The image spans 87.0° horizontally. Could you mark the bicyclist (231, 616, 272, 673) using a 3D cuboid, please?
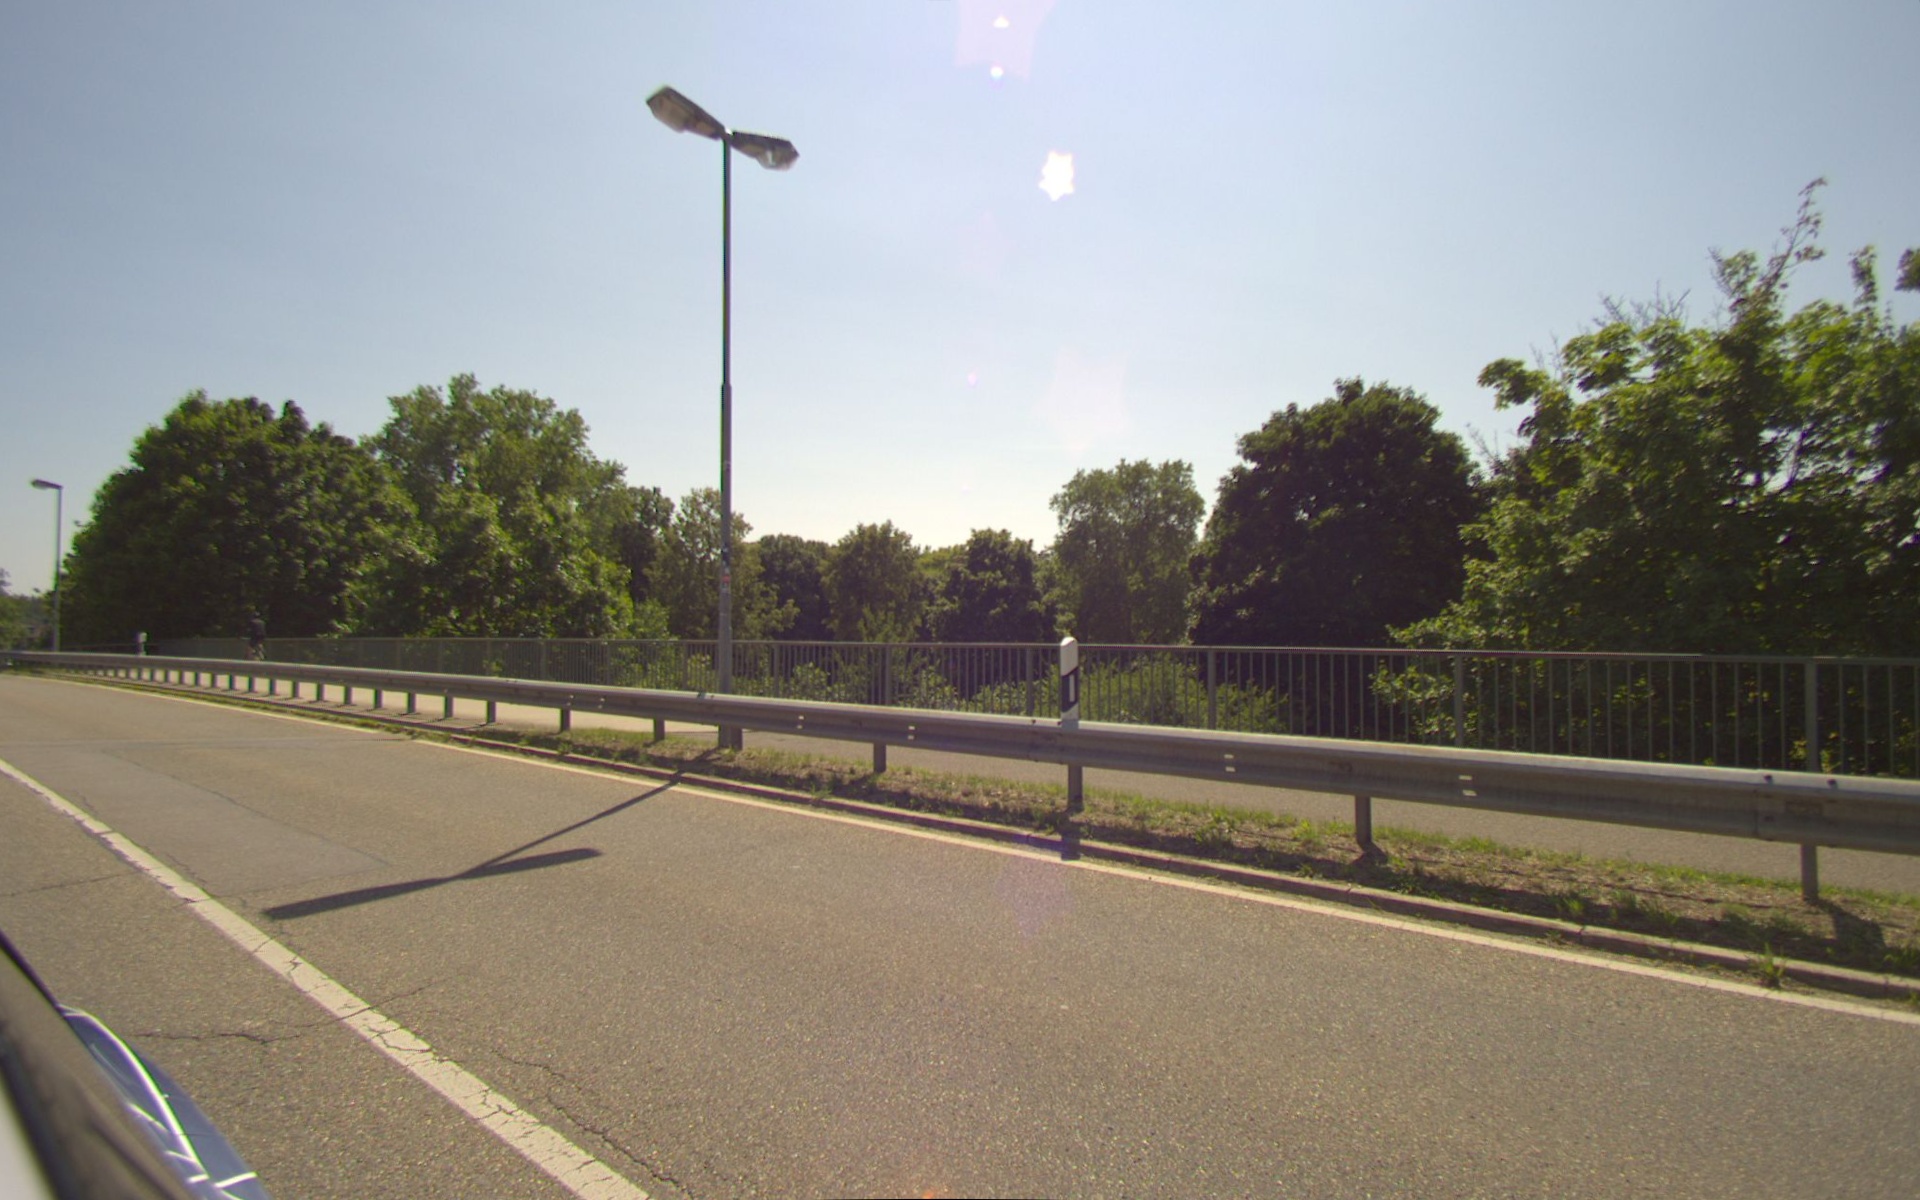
[{"bbox_3d":[-20.958,1.314,29.943,0.894,1.646,0.758,-3,-3,38],"label":"bicyclist"}]

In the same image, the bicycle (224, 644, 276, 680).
[{"bbox_3d":[-21.060,1.830,30.017,2.115,1.009,0.671,-3,-3,38],"label":"bicycle"}]
